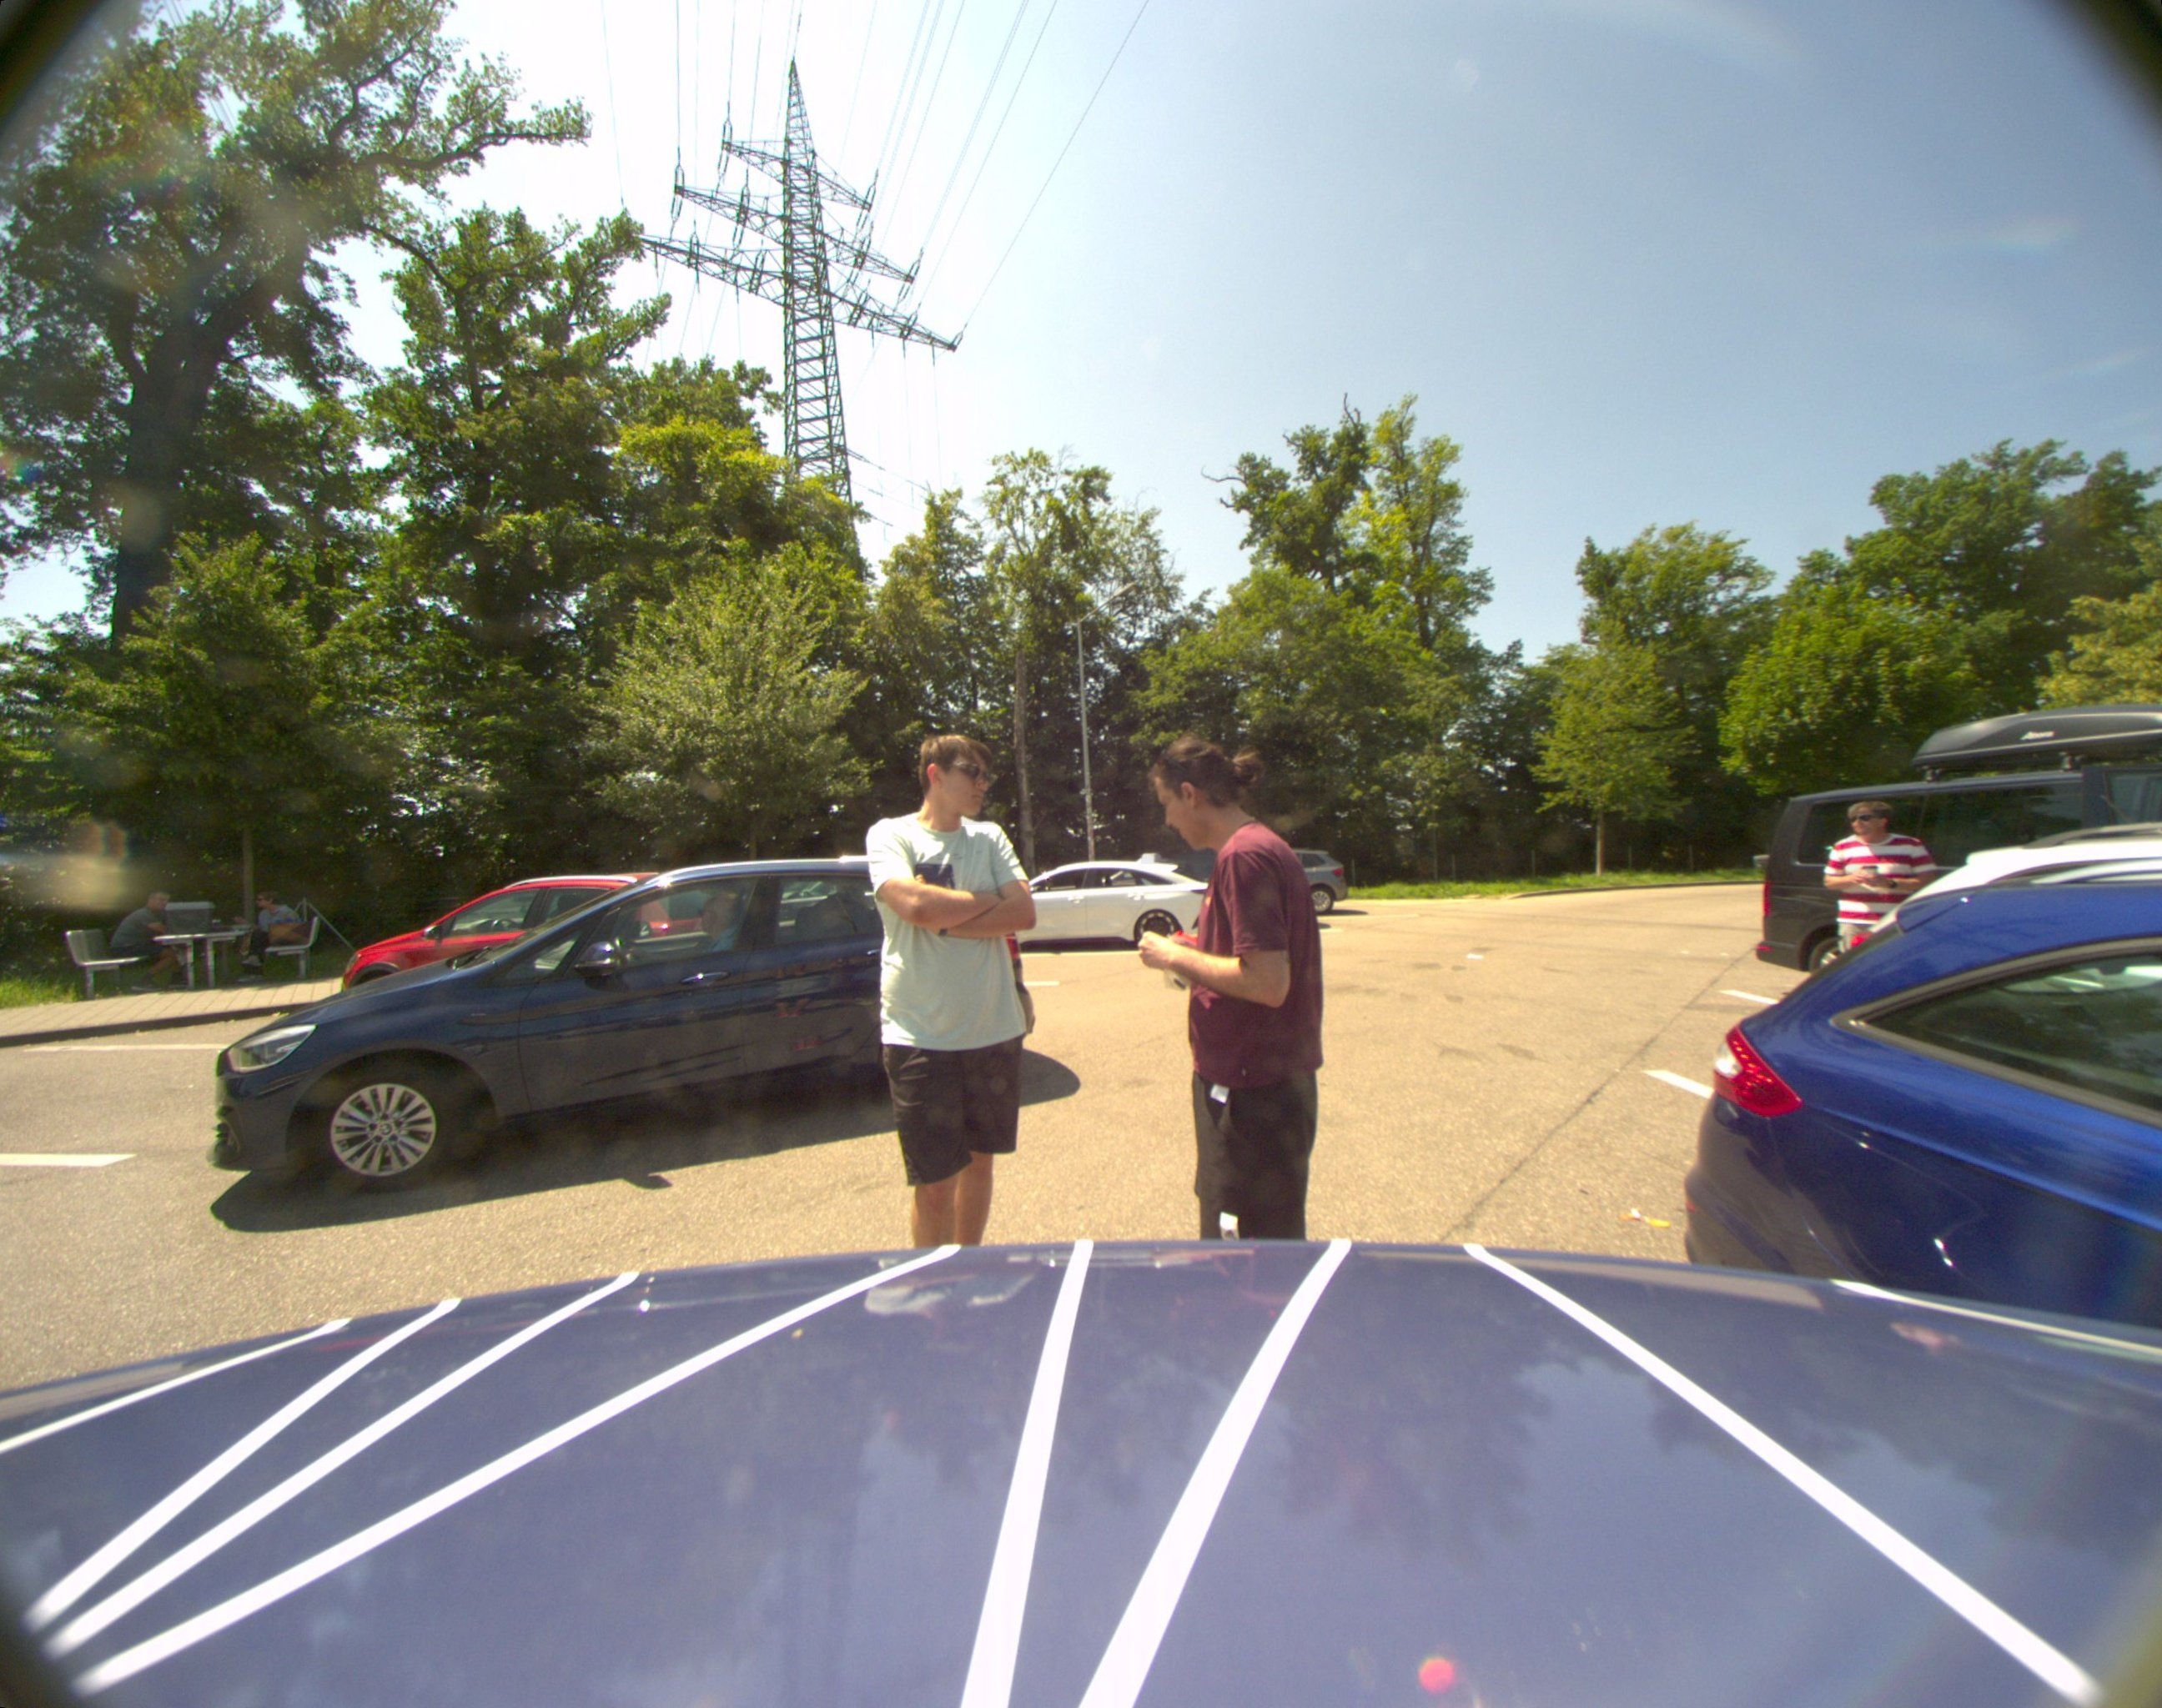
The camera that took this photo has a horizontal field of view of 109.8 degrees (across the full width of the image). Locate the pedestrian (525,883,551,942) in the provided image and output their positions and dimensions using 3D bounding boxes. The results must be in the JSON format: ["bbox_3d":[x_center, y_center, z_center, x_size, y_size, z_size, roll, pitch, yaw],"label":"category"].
[{"bbox_3d":[-11.017,1.175,15.415,0.357,1.158,0.384,-3,2,-41],"label":"pedestrian"}]

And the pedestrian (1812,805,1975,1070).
[{"bbox_3d":[5.887,0.546,5.531,0.786,1.744,0.753,-3,2,-43],"label":"pedestrian"}]

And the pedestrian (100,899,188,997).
[{"bbox_3d":[-12.735,1.257,10.349,0.595,1.238,0.446,-3,1,-33],"label":"pedestrian"}]

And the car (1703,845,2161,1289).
[{"bbox_3d":[4.641,0.725,2.232,1.757,1.496,4.574,-3,-1,-1],"label":"car"}]

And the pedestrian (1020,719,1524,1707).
[{"bbox_3d":[0.463,0.710,1.908,0.919,1.894,0.815,-2,1,16],"label":"pedestrian"}]

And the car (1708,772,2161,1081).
[{"bbox_3d":[7.369,0.412,5.264,1.758,1.886,4.571,-3,-1,-9],"label":"car"}]

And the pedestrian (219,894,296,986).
[{"bbox_3d":[-11.868,1.218,10.962,0.595,1.238,0.499,-3,1,-33],"label":"pedestrian"}]

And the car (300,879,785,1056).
[{"bbox_3d":[-5.237,1.081,7.648,3.823,1.460,1.651,-2,1,8],"label":"car"}]

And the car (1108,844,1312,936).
[{"bbox_3d":[2.599,0.705,15.436,3.822,1.686,1.652,-2,1,12],"label":"car"}]

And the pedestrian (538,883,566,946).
[{"bbox_3d":[-10.172,1.152,14.600,0.357,1.158,0.384,-3,2,-41],"label":"pedestrian"}]

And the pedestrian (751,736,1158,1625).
[{"bbox_3d":[-0.413,0.708,2.246,0.815,1.939,0.918,-3,1,-32],"label":"pedestrian"}]

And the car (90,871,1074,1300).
[{"bbox_3d":[-2.399,0.974,4.818,4.350,1.544,1.744,-2,1,-27],"label":"car"}]

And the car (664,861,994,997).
[{"bbox_3d":[-3.256,0.954,10.277,3.825,1.546,1.651,-2,1,4],"label":"car"}]

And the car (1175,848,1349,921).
[{"bbox_3d":[4.258,0.702,18.131,3.822,1.551,1.652,-2,1,12],"label":"car"}]

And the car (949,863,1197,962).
[{"bbox_3d":[-0.082,0.926,12.653,3.825,1.394,1.651,-2,1,4],"label":"car"}]
